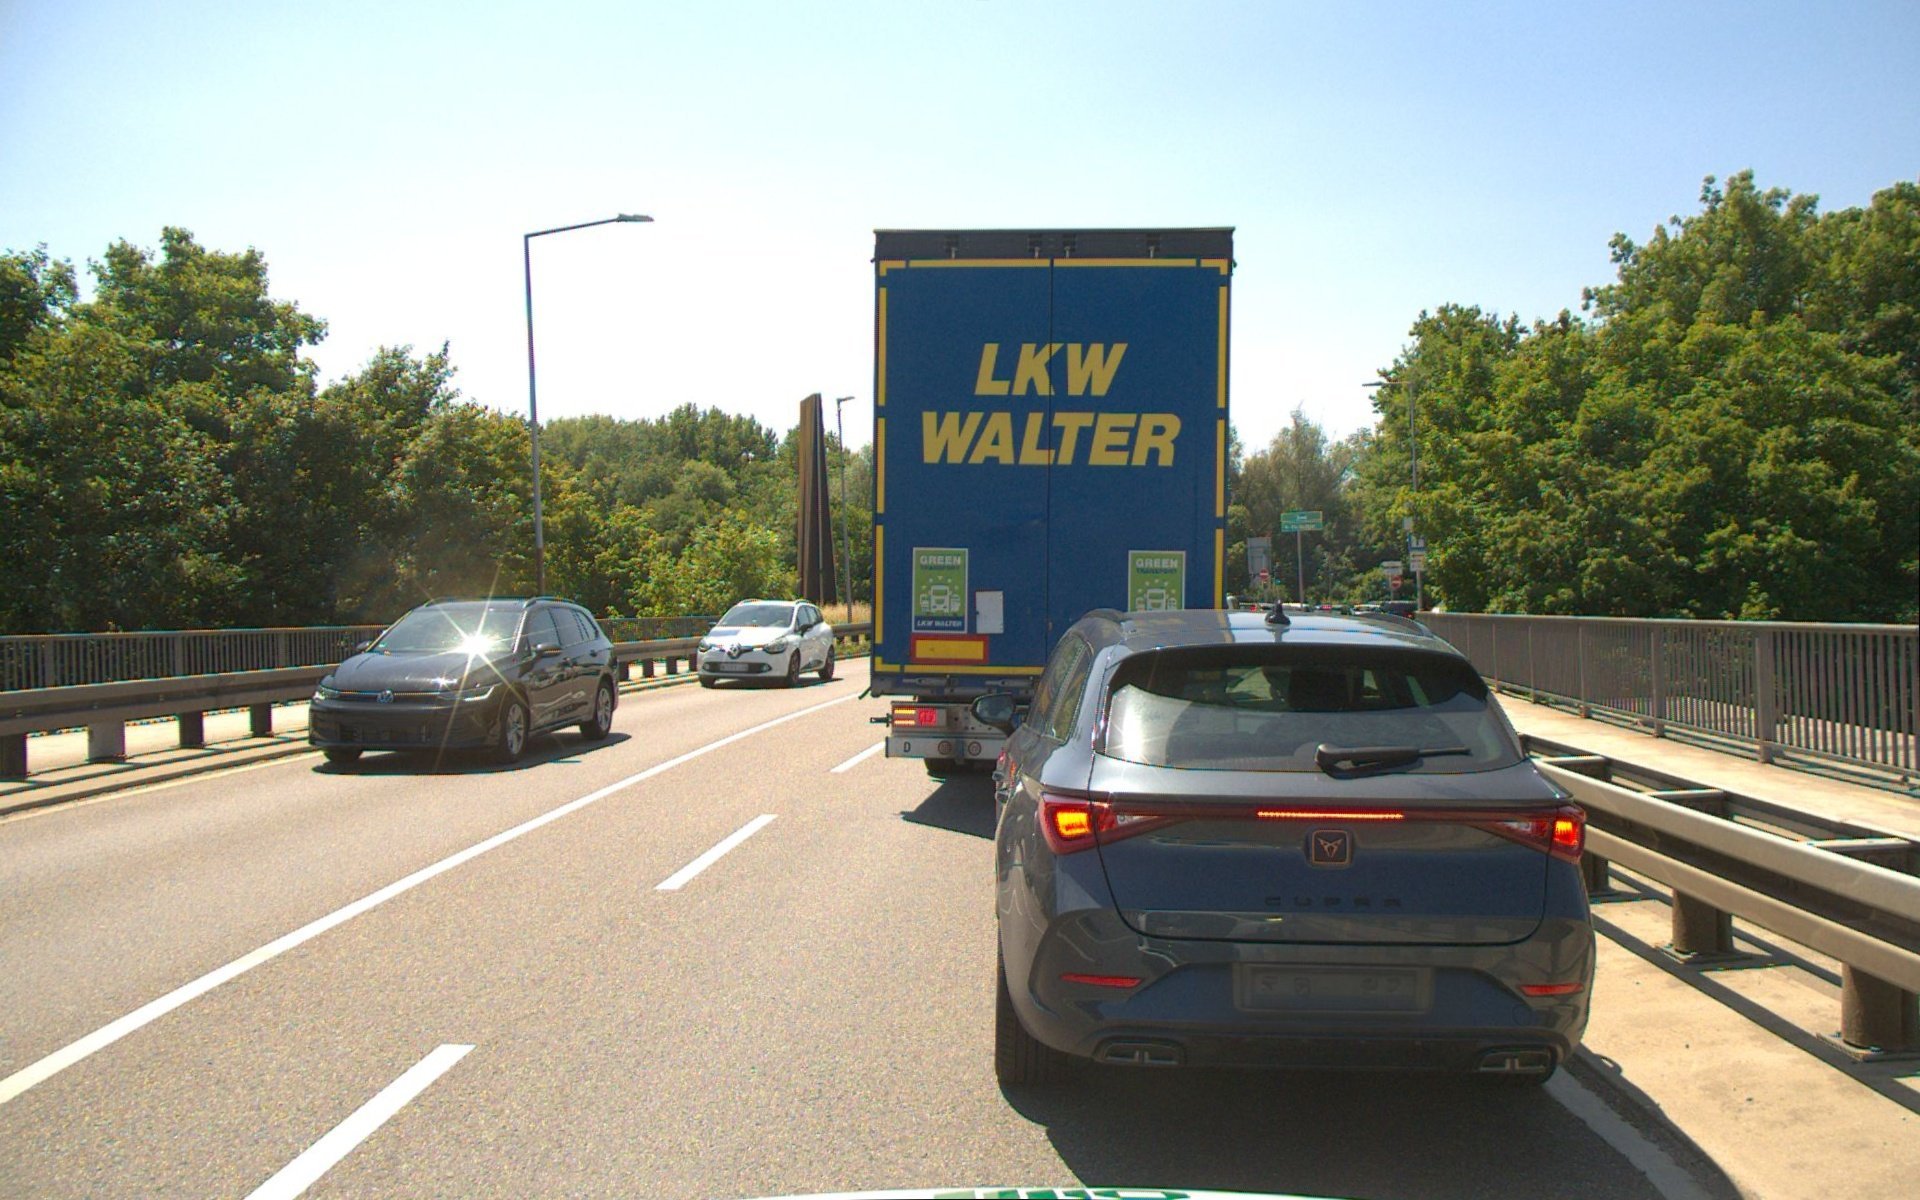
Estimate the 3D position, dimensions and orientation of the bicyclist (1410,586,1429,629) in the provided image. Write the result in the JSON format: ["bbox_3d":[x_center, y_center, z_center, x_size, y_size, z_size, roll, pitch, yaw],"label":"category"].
[{"bbox_3d":[18.504,0.298,66.635,0.565,1.712,0.730,-3,0,9],"label":"bicyclist"}]

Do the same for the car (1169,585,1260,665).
[{"bbox_3d":[6.367,0.563,41.074,1.684,1.876,4.002,0,1,17],"label":"car"}]

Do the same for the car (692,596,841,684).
[{"bbox_3d":[-3.392,0.664,29.676,1.565,1.474,4.059,0,0,10],"label":"car"}]

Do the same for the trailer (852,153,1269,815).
[{"bbox_3d":[1.414,-0.830,17.582,2.843,4.496,12.442,0,0,7],"label":"trailer"}]

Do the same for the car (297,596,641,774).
[{"bbox_3d":[-4.605,0.711,16.251,1.674,1.494,4.463,0,0,6],"label":"car"}]

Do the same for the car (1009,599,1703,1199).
[{"bbox_3d":[1.004,0.737,5.939,1.642,1.481,3.959,0,0,1],"label":"car"}]

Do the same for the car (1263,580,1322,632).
[{"bbox_3d":[12.426,0.193,61.678,1.685,1.876,4.002,0,0,18],"label":"car"}]

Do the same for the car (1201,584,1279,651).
[{"bbox_3d":[8.071,0.459,47.419,1.684,1.834,4.002,0,0,17],"label":"car"}]

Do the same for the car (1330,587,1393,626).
[{"bbox_3d":[18.143,0.313,74.688,1.954,1.603,3.996,2,-1,26],"label":"car"}]

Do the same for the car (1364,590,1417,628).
[{"bbox_3d":[21.004,0.443,80.667,1.653,1.791,3.995,0,-1,28],"label":"car"}]

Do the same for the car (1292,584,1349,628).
[{"bbox_3d":[14.934,0.261,68.367,1.651,1.791,3.999,0,-1,22],"label":"car"}]

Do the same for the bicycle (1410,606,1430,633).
[{"bbox_3d":[18.522,0.787,66.639,0.569,1.053,1.486,-3,0,9],"label":"bicycle"}]

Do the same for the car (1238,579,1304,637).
[{"bbox_3d":[10.501,0.238,55.673,1.685,1.876,4.002,0,0,18],"label":"car"}]

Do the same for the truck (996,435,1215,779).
[{"bbox_3d":[2.310,0.064,25.072,2.843,4.496,6.560,0,0,7],"label":"truck"}]

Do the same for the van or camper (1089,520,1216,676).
[{"bbox_3d":[4.031,-0.053,33.665,2.108,2.865,6.393,0,0,11],"label":"van or camper"}]
